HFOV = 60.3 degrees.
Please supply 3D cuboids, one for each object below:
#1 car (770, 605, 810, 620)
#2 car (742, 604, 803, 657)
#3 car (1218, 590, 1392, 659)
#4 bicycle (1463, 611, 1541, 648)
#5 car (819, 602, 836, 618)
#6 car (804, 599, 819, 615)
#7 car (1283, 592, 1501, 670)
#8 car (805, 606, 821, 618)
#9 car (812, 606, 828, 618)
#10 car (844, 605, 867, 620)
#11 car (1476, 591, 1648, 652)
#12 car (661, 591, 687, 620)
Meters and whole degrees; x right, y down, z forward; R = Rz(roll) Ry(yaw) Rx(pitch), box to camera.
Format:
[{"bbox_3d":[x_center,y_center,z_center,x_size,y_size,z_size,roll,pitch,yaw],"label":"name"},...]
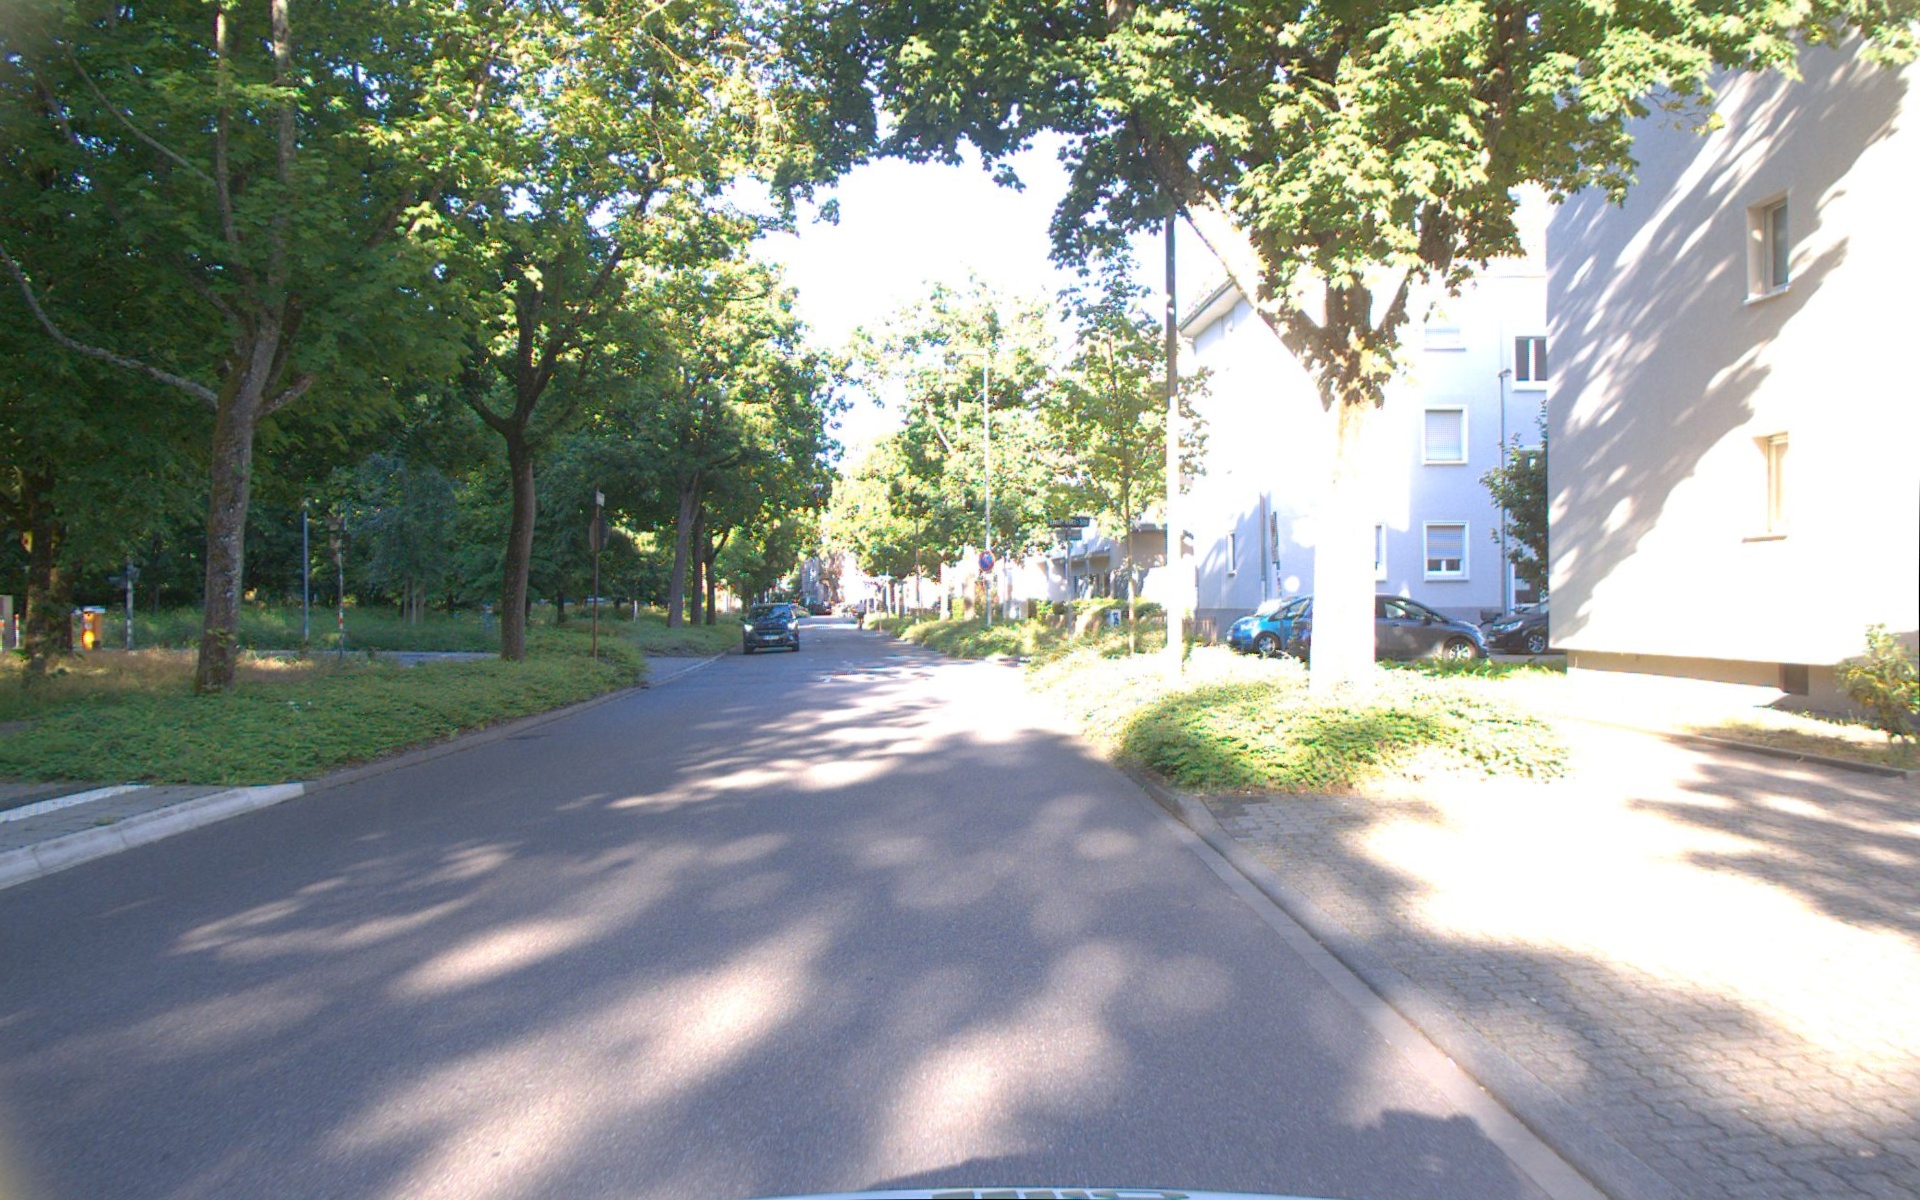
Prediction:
[{"bbox_3d":[-17.627,1.313,171.488,3.919,1.527,1.811,1,0,-14],"label":"car"},{"bbox_3d":[-6.138,0.980,54.550,1.808,1.606,4.331,-2,0,-5],"label":"car"},{"bbox_3d":[8.612,0.583,41.431,3.910,1.609,1.808,-1,1,-6],"label":"car"},{"bbox_3d":[14.364,0.776,43.867,1.925,0.942,0.482,0,0,-5],"label":"bicycle"},{"bbox_3d":[-16.265,1.246,202.454,1.778,1.959,3.991,1,0,-9],"label":"car"},{"bbox_3d":[-20.371,0.962,227.022,1.778,2.086,3.991,1,0,-9],"label":"car"},{"bbox_3d":[8.757,0.637,33.693,3.961,1.541,1.725,0,-2,-5],"label":"car"},{"bbox_3d":[-19.296,1.551,216.875,1.778,1.527,3.991,1,0,-9],"label":"car"},{"bbox_3d":[-17.847,1.505,210.461,1.778,1.527,3.991,1,0,-9],"label":"car"},{"bbox_3d":[-11.004,1.350,174.151,1.780,1.527,3.987,-1,0,-13],"label":"car"},{"bbox_3d":[15.175,0.533,41.802,3.748,1.524,1.647,0,0,-4],"label":"car"},{"bbox_3d":[-25.809,0.523,149.125,1.960,2.552,3.985,1,-1,-14],"label":"car"}]
